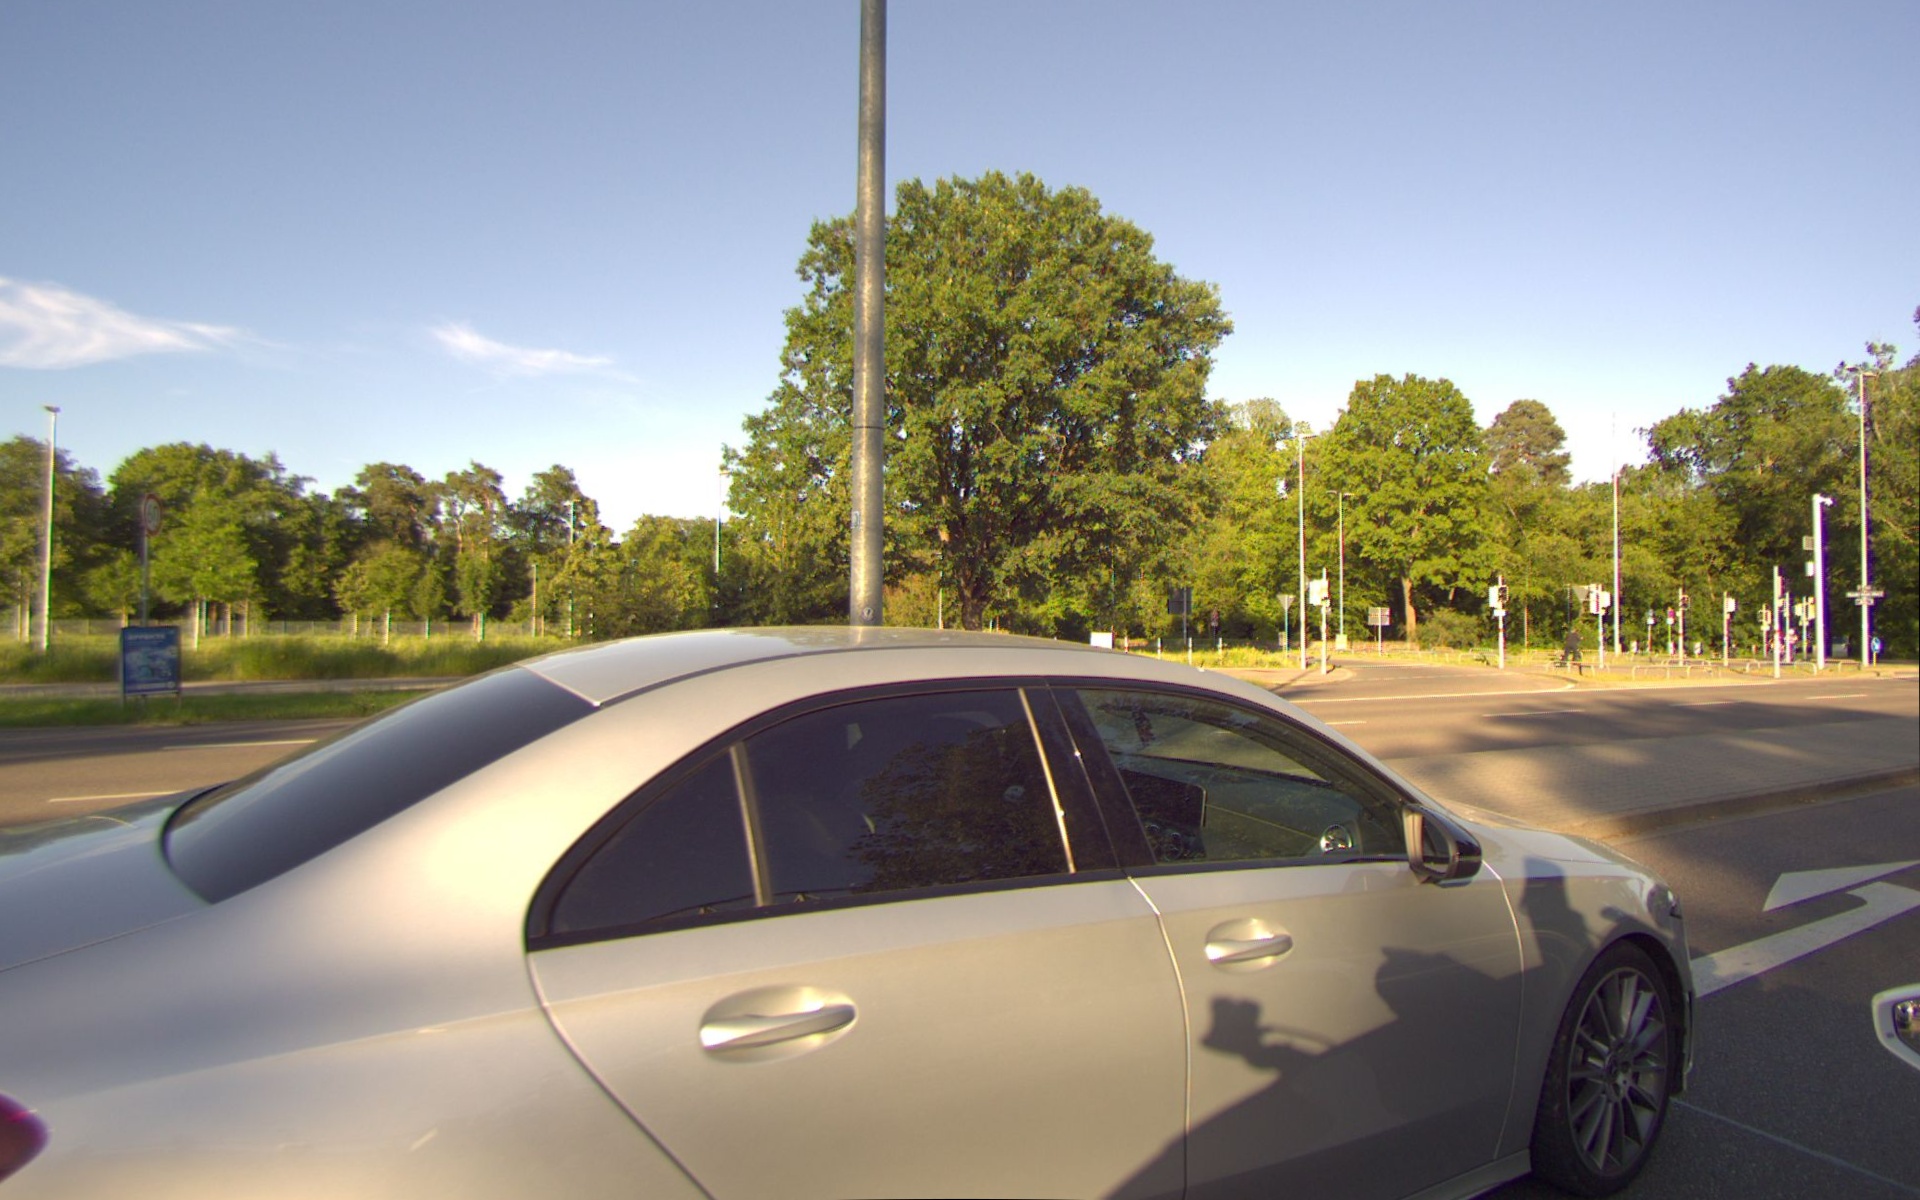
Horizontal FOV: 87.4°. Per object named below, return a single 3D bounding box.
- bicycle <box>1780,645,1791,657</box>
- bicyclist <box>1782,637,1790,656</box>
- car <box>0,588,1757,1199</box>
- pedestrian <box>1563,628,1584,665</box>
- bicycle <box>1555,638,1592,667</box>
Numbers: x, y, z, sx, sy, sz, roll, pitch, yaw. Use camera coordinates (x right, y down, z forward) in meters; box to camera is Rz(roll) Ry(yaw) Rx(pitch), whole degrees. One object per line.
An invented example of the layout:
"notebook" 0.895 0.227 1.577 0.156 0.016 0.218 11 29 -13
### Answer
"bicycle" 44.278 2.731 53.868 0.831 0.589 0.264 2 0 -36
"bicyclist" 44.302 2.494 53.875 0.238 0.975 0.271 2 0 -35
"car" 0.096 0.736 2.605 4.230 1.463 1.775 1 0 -32
"pedestrian" 26.115 1.976 42.766 0.641 1.583 0.479 2 0 -30
"bicycle" 26.108 2.233 42.749 1.980 1.193 0.466 2 0 -31
